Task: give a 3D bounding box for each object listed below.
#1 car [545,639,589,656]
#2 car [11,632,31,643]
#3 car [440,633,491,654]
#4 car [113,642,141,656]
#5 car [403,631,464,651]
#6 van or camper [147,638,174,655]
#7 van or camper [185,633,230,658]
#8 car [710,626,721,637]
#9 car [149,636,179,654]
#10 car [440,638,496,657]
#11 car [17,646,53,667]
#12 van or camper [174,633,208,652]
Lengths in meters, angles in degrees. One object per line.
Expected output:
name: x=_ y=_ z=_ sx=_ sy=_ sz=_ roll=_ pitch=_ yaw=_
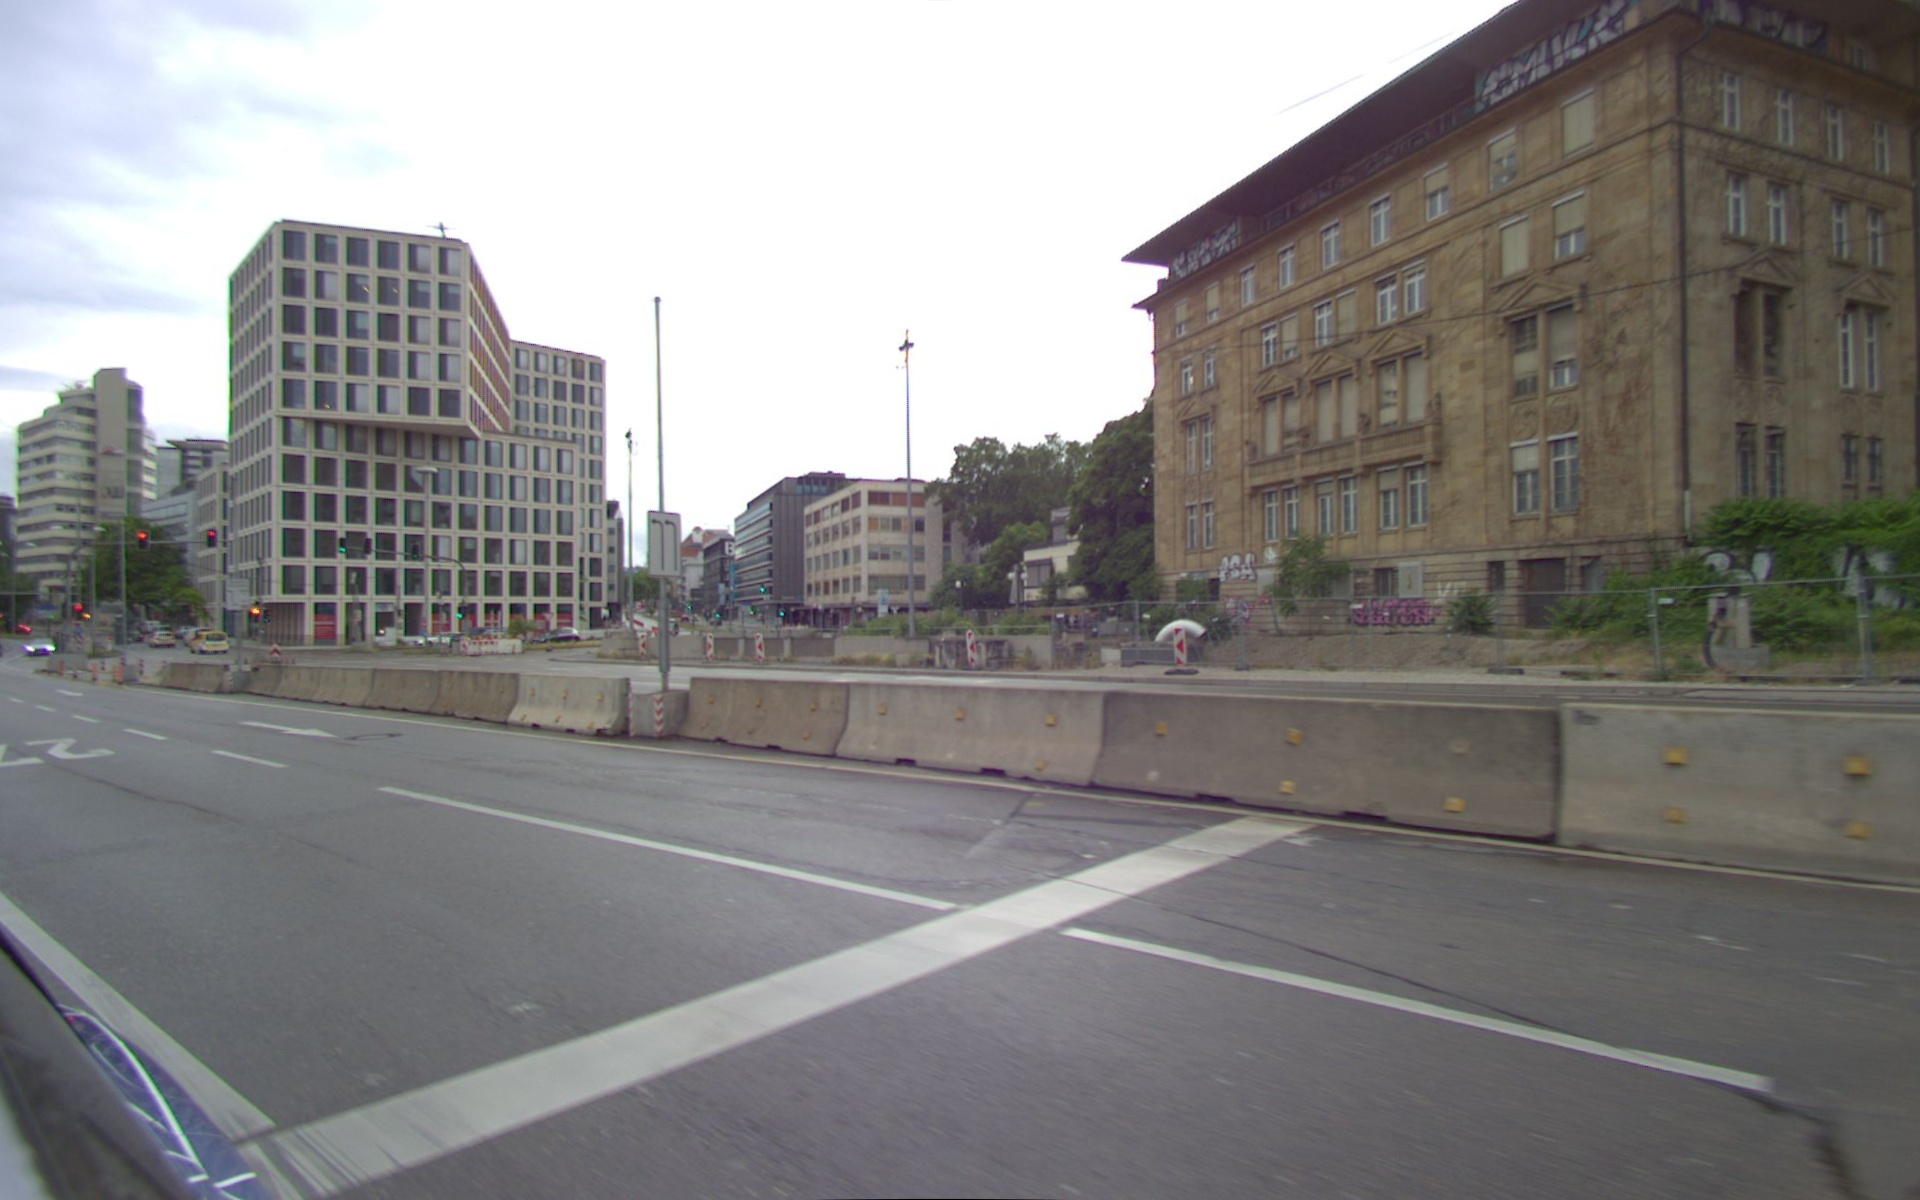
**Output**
car: x=-40.884 y=4.943 z=105.362 sx=1.848 sy=1.729 sz=4.093 roll=-3 pitch=-2 yaw=27
car: x=-149.433 y=6.005 z=161.073 sx=4.178 sy=1.610 sz=1.826 roll=-2 pitch=-2 yaw=40
car: x=-46.557 y=4.064 z=95.225 sx=3.941 sy=1.829 sz=1.807 roll=0 pitch=-1 yaw=-45
car: x=-97.408 y=5.744 z=118.390 sx=4.178 sy=1.610 sz=1.826 roll=-2 pitch=-2 yaw=40
car: x=-50.427 y=3.938 z=97.025 sx=2.228 sy=1.766 sz=4.747 roll=-3 pitch=-2 yaw=40
van or camper: x=-97.681 y=5.646 z=123.631 sx=4.253 sy=1.994 sz=1.826 roll=-2 pitch=-2 yaw=40
van or camper: x=-65.503 y=3.963 z=88.069 sx=5.609 sy=2.070 sz=2.214 roll=-2 pitch=-2 yaw=44
car: x=-46.723 y=6.012 z=193.332 sx=1.966 sy=2.029 sz=4.010 roll=-1 pitch=-2 yaw=-14
car: x=-82.680 y=4.674 z=105.129 sx=4.380 sy=1.686 sz=1.822 roll=-2 pitch=-2 yaw=43
car: x=-42.204 y=4.035 z=86.829 sx=1.831 sy=1.497 sz=3.955 roll=-2 pitch=-1 yaw=33
car: x=-77.740 y=4.739 z=85.123 sx=1.986 sy=1.610 sz=4.671 roll=0 pitch=-2 yaw=-39
van or camper: x=-80.753 y=4.461 z=106.264 sx=5.209 sy=1.908 sz=1.862 roll=-2 pitch=-2 yaw=41
